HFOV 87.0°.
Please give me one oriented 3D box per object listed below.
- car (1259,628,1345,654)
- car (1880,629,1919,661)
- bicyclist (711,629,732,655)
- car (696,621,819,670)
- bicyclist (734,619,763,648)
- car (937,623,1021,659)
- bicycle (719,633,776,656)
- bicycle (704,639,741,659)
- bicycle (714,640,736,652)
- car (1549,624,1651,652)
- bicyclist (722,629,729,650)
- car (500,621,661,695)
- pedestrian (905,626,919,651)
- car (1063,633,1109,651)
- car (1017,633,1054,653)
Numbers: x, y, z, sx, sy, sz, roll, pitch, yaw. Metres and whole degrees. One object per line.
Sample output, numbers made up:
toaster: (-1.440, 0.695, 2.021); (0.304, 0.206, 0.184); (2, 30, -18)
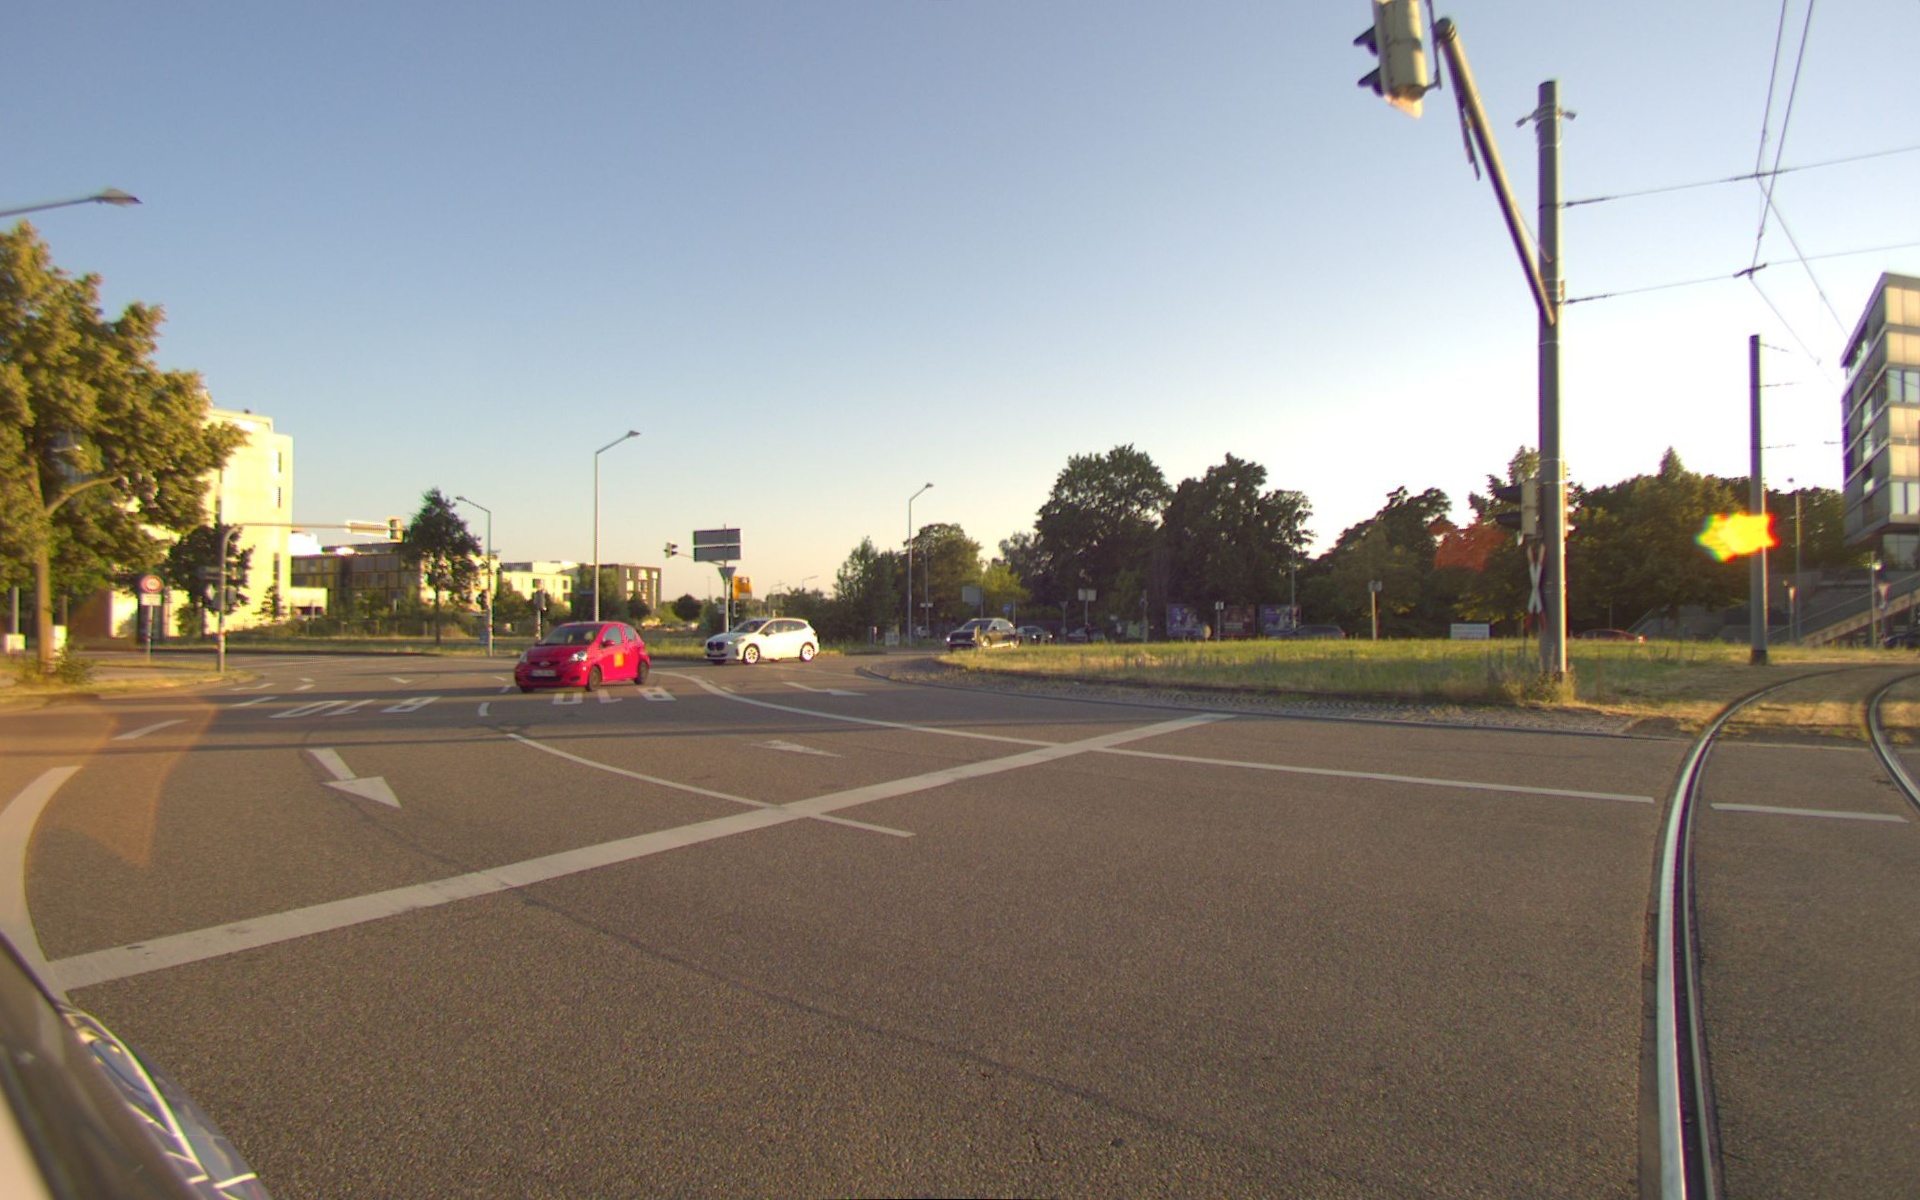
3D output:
car: (19.940, 2.394, 59.173); (4.346, 1.443, 1.942); (-1, -2, 4)
car: (44.160, 2.002, 45.008); (1.911, 1.443, 4.334); (0, -2, -20)
bicyclist: (-14.896, 2.615, 63.288); (0.809, 1.645, 0.988); (-2, -2, 37)
car: (-6.916, 1.539, 34.931); (1.756, 1.570, 4.165); (-2, -3, 34)
bicyclist: (-13.067, 2.053, 62.570); (1.123, 1.762, 1.397); (-2, -2, 41)
car: (0.934, 1.880, 46.920); (1.825, 1.570, 4.162); (-2, -3, 37)
bicycle: (-13.099, 2.735, 62.502); (1.123, 1.406, 3.490); (-2, -2, 41)
bicycle: (-14.840, 3.050, 63.369); (0.809, 1.188, 2.300); (-2, -2, 37)
bicycle: (-15.767, 3.072, 67.933); (1.395, 0.797, 0.475); (0, -2, -10)
car: (35.490, 2.129, 56.211); (4.589, 1.443, 1.919); (-3, -3, 39)
bicyclist: (-15.762, 2.669, 67.938); (0.441, 1.408, 0.475); (0, -2, -10)
car: (-8.106, 1.224, 22.065); (1.673, 1.432, 4.204); (-1, -2, 5)
pedestrian: (-3.389, 2.724, 71.736); (0.875, 1.714, 0.722); (0, -2, -14)
car: (10.804, 3.613, 87.123); (1.911, 1.443, 4.417); (0, -3, -25)
car: (5.892, 3.329, 79.446); (1.812, 1.512, 4.264); (0, -2, -11)
